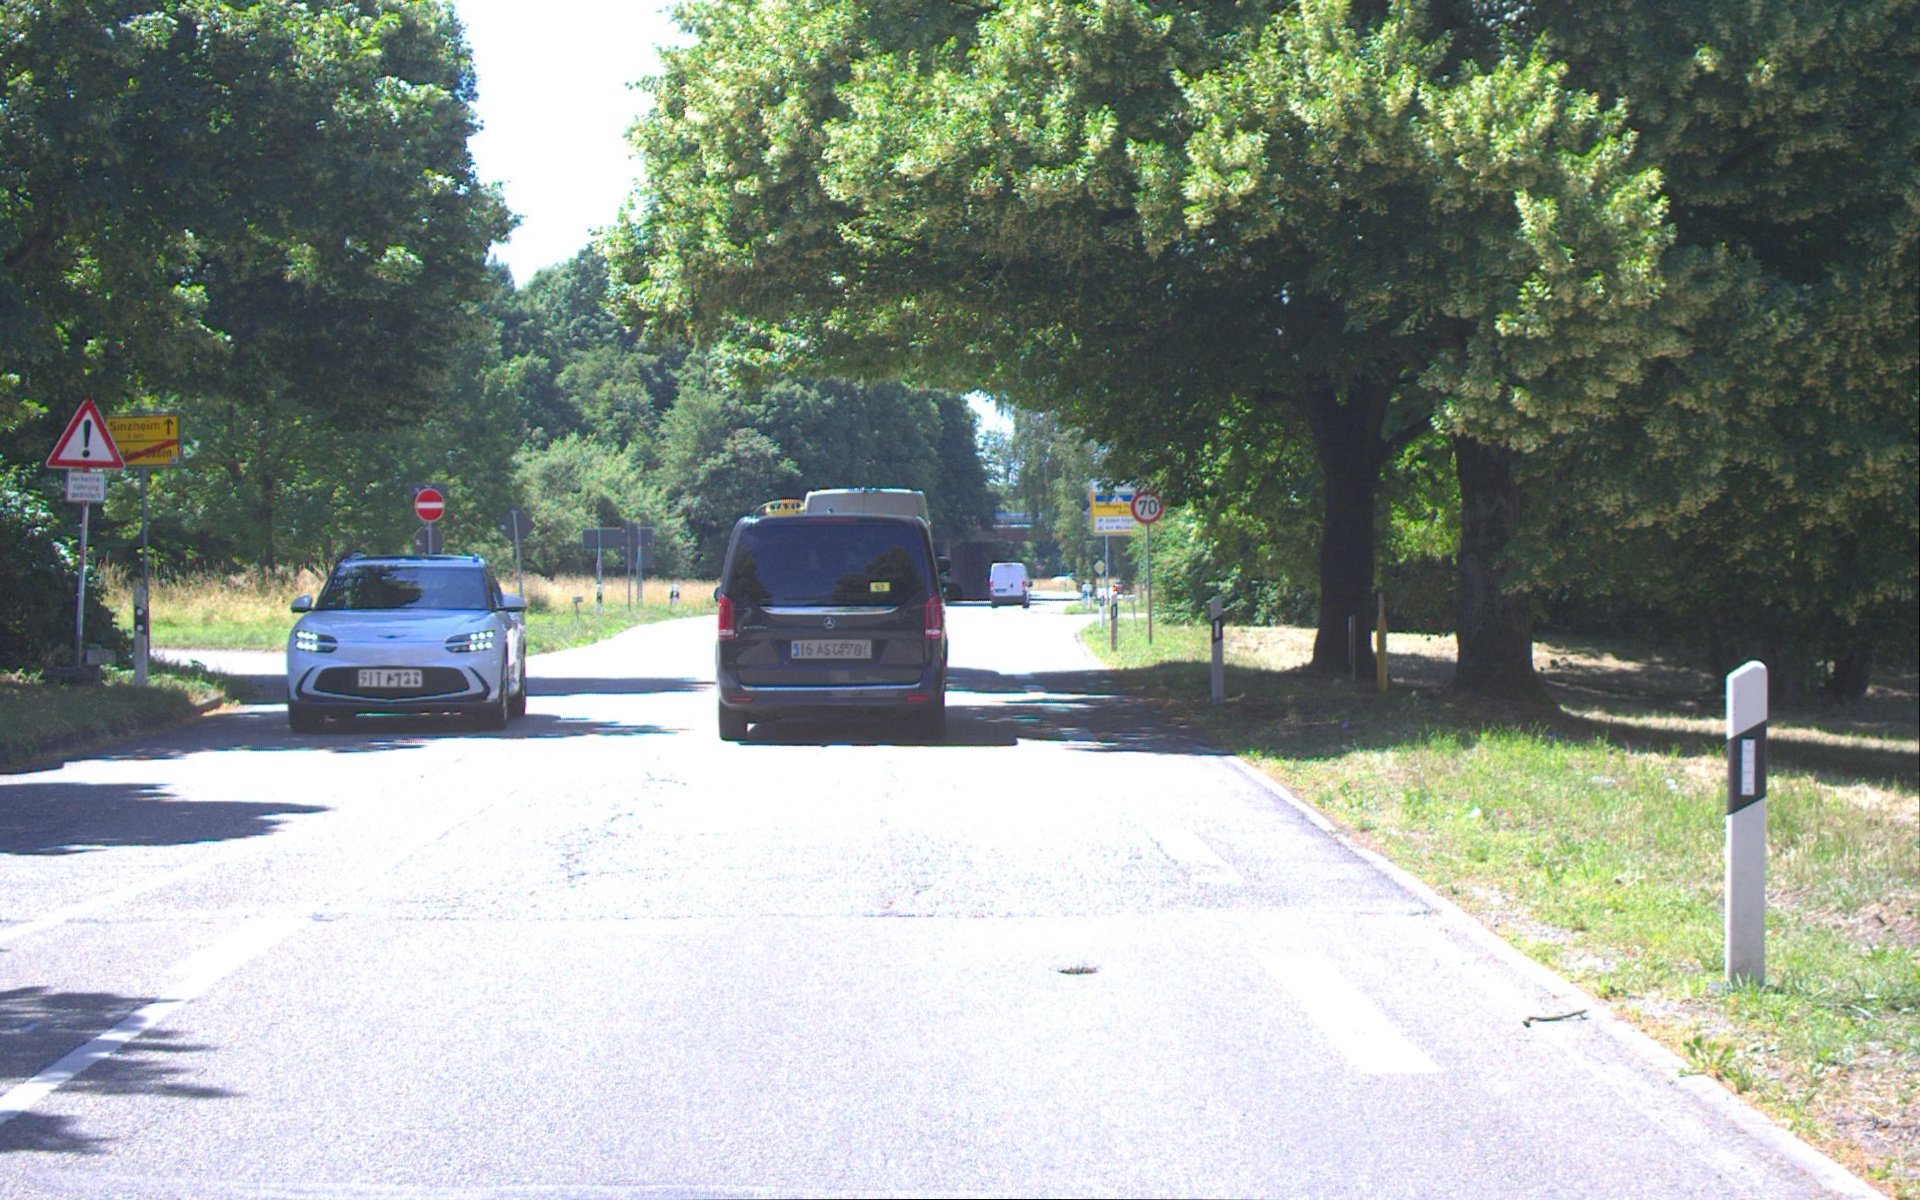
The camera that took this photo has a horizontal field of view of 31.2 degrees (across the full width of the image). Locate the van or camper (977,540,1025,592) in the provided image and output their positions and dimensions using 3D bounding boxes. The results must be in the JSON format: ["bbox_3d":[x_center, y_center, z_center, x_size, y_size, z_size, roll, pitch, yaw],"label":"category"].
[{"bbox_3d":[2.375,-1.959,199.144,2.631,2.919,5.207,1,0,0],"label":"van or camper"}]

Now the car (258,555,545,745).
[{"bbox_3d":[-5.047,0.412,31.670,2.094,1.583,4.475,1,0,-3],"label":"car"}]

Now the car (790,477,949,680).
[{"bbox_3d":[-1.272,-0.303,48.742,2.078,2.693,4.666,1,0,-1],"label":"car"}]

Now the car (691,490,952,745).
[{"bbox_3d":[-1.127,0.122,29.391,1.993,1.946,5.005,1,0,-1],"label":"car"}]
